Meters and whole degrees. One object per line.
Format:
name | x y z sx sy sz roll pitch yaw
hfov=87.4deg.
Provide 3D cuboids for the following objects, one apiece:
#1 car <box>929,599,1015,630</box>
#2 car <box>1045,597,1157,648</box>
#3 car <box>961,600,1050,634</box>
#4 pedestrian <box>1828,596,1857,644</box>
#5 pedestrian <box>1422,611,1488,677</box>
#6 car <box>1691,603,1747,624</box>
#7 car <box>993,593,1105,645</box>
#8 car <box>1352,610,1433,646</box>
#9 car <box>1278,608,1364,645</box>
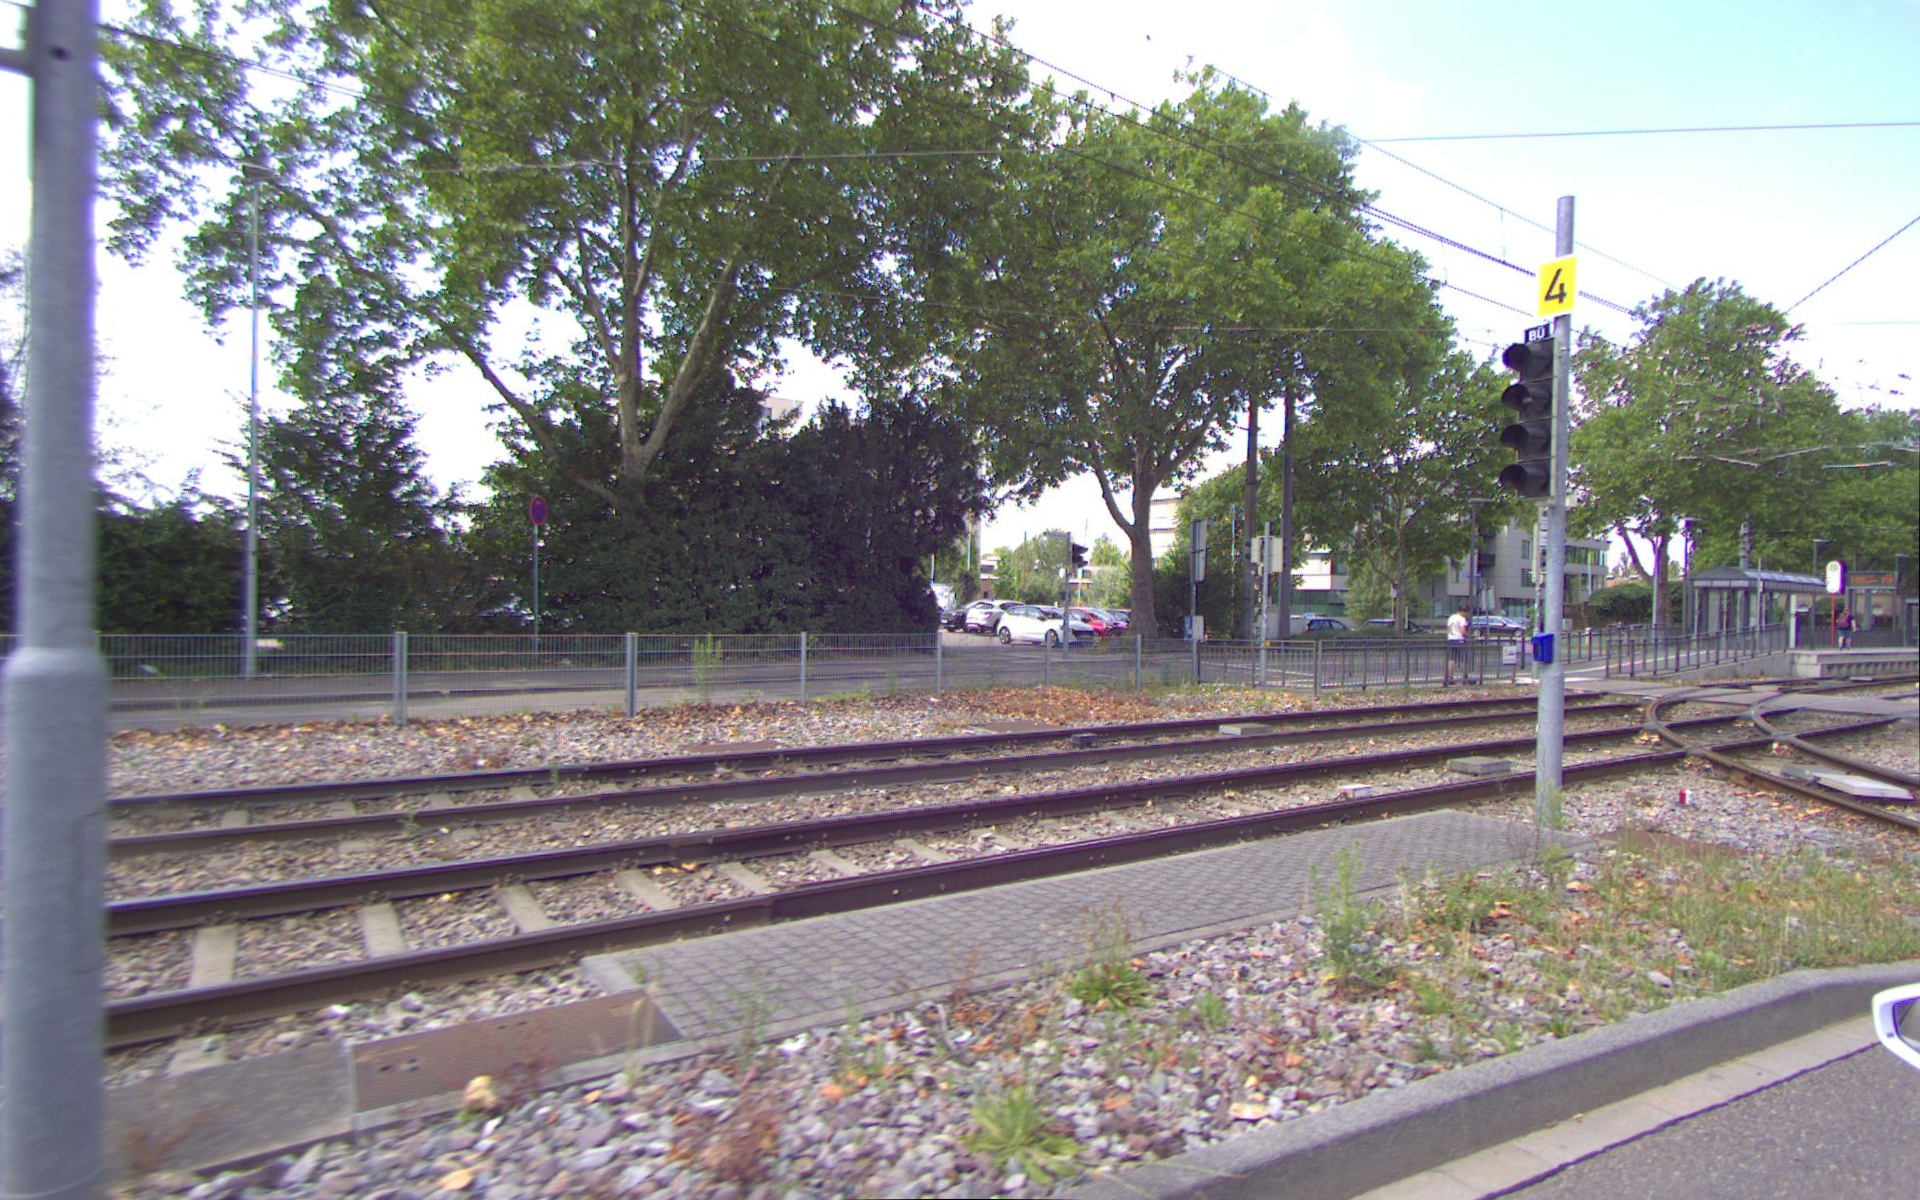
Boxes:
car | 0.614 0.740 49.973 3.961 1.495 1.785 1 0 -36
car | 5.133 0.795 36.974 1.787 1.773 3.956 1 0 -38
car | 2.164 0.802 47.322 3.961 1.495 1.785 1 0 -36
pedestrian | 35.221 0.785 40.095 0.856 1.869 0.701 1 0 -36
pedestrian | 10.506 0.934 21.331 0.852 1.361 0.918 1 -1 -21
car | 76.058 1.383 100.735 1.941 2.061 4.109 2 -2 -35
car | 3.149 0.656 36.139 1.787 1.773 3.956 1 0 -38
car | 19.833 1.254 46.040 3.612 1.555 1.681 1 0 -32
car | 15.684 1.132 43.599 3.612 1.555 1.681 1 0 -32
